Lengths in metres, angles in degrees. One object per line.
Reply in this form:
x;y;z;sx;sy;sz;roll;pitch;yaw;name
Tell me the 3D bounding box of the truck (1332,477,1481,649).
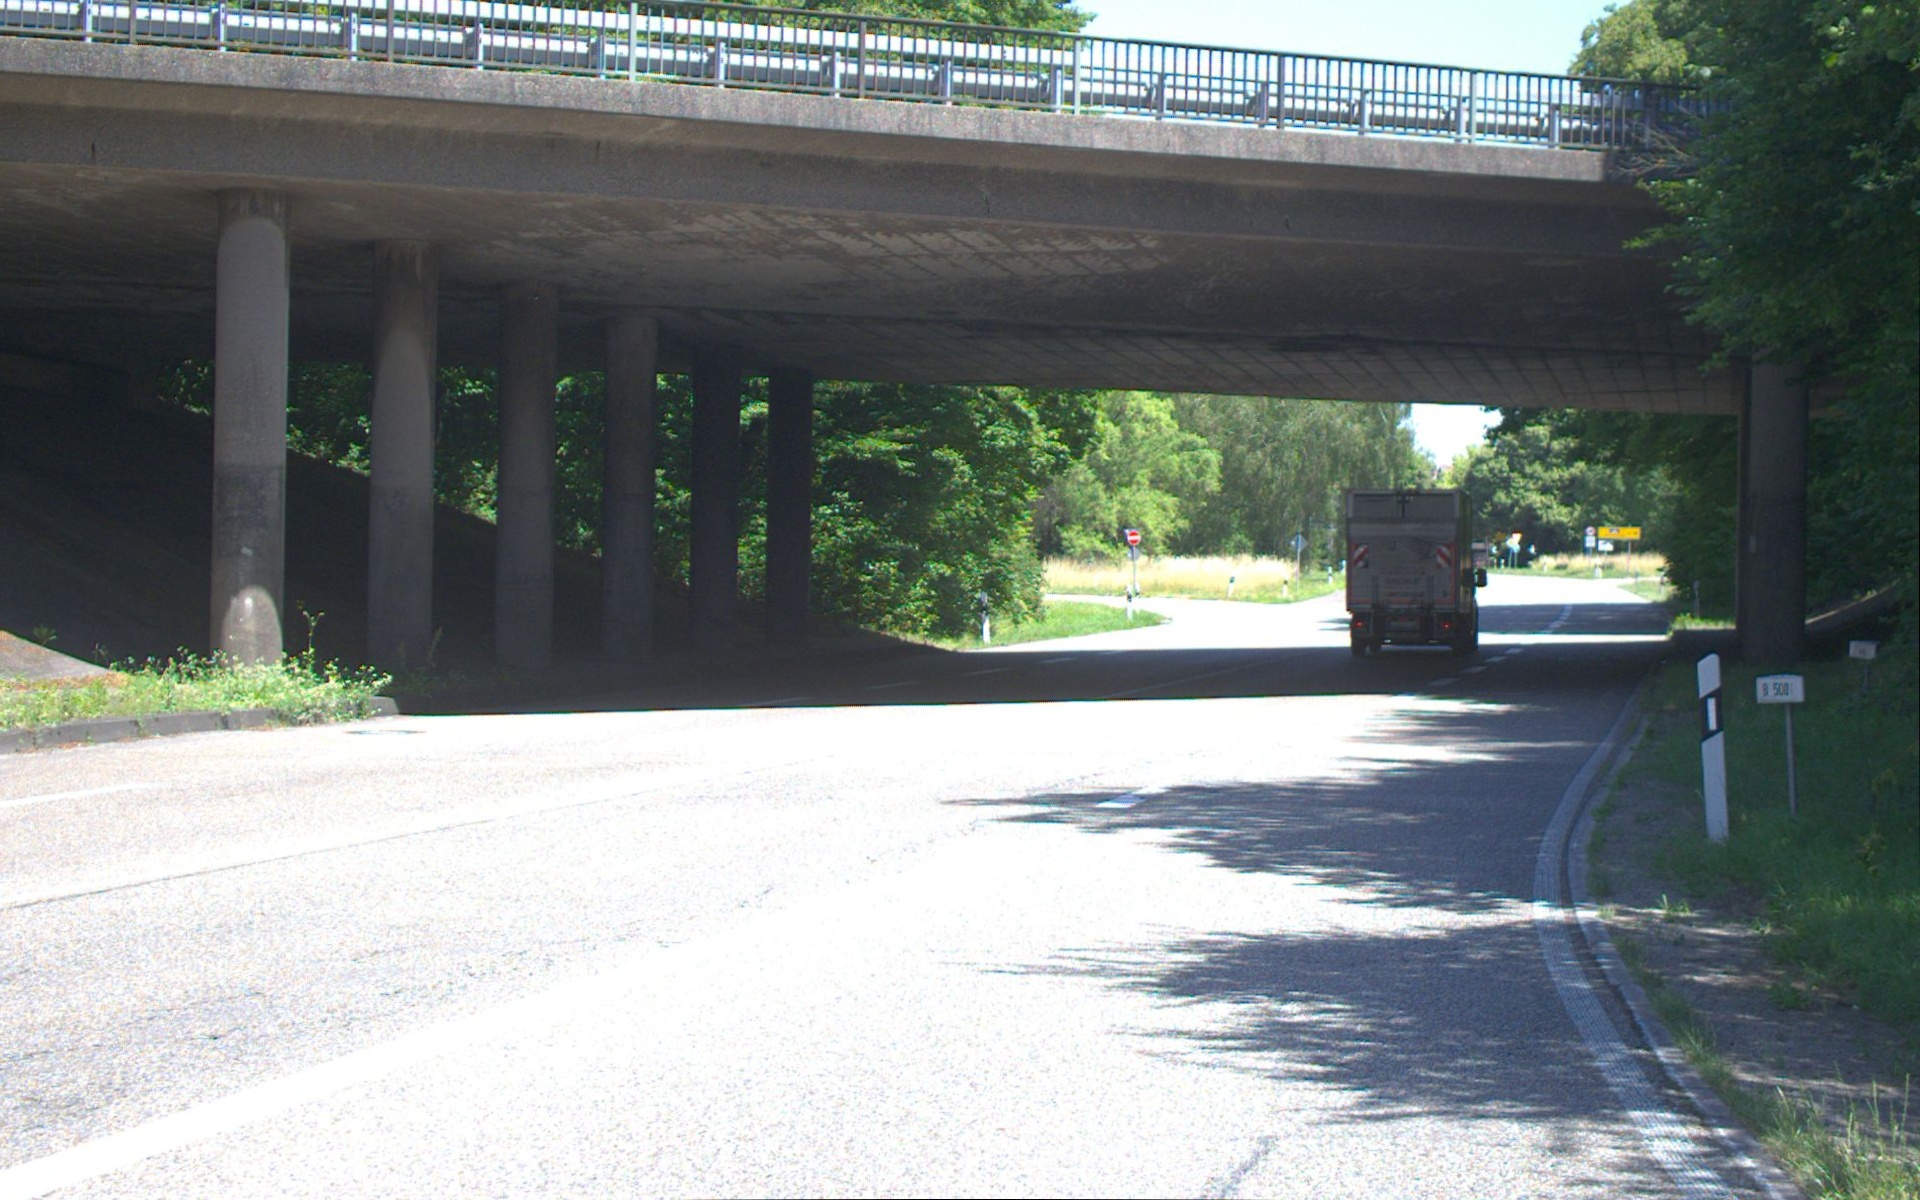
8.204;-0.666;62.686;2.241;2.974;5.891;0;0;12;truck
